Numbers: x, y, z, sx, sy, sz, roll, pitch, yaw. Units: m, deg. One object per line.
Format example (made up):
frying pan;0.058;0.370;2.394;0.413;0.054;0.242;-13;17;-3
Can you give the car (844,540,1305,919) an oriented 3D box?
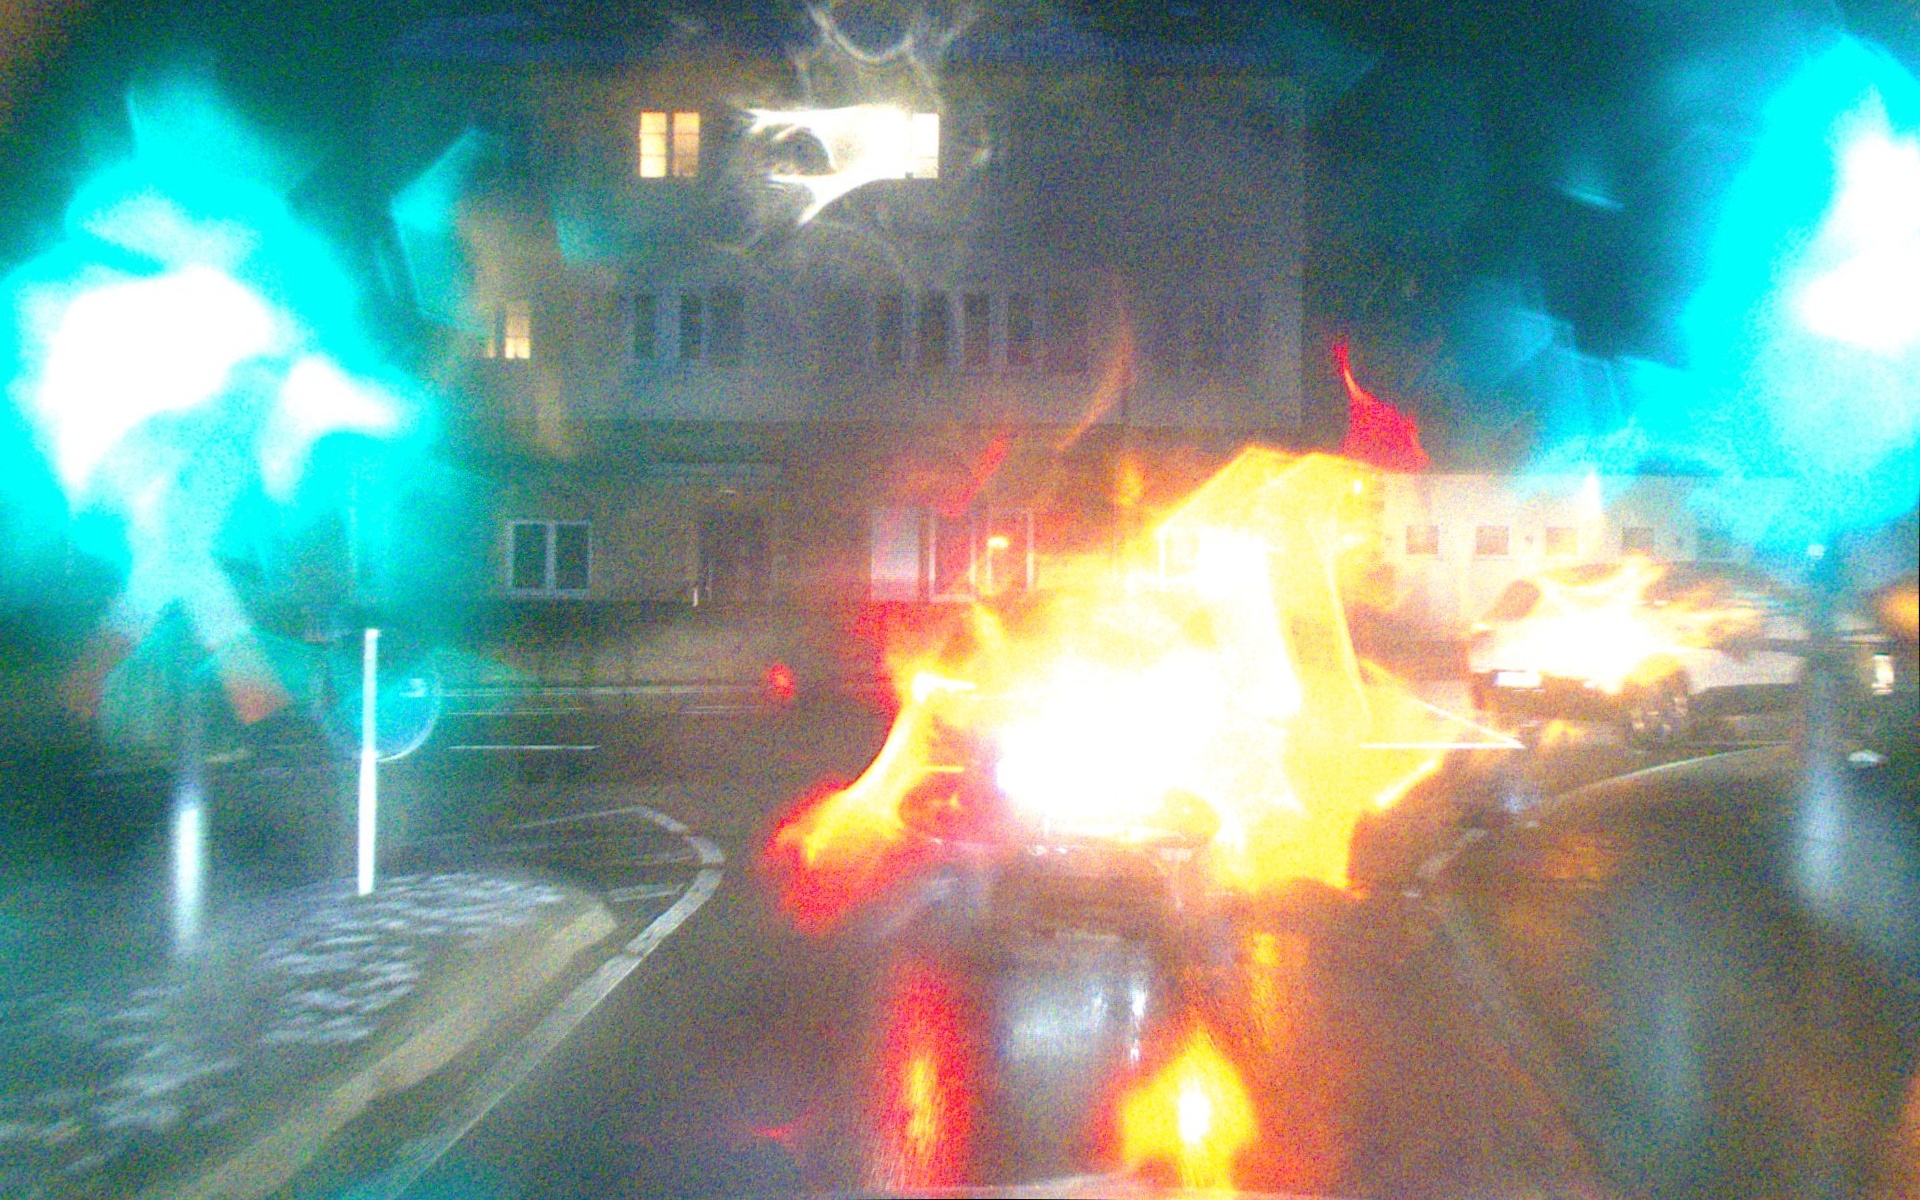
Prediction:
car;0.938;0.626;9.966;2.014;1.707;4.142;2;0;14

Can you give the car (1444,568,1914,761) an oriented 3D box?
car;6.877;0.526;15.774;4.177;1.537;1.899;-2;1;-27
